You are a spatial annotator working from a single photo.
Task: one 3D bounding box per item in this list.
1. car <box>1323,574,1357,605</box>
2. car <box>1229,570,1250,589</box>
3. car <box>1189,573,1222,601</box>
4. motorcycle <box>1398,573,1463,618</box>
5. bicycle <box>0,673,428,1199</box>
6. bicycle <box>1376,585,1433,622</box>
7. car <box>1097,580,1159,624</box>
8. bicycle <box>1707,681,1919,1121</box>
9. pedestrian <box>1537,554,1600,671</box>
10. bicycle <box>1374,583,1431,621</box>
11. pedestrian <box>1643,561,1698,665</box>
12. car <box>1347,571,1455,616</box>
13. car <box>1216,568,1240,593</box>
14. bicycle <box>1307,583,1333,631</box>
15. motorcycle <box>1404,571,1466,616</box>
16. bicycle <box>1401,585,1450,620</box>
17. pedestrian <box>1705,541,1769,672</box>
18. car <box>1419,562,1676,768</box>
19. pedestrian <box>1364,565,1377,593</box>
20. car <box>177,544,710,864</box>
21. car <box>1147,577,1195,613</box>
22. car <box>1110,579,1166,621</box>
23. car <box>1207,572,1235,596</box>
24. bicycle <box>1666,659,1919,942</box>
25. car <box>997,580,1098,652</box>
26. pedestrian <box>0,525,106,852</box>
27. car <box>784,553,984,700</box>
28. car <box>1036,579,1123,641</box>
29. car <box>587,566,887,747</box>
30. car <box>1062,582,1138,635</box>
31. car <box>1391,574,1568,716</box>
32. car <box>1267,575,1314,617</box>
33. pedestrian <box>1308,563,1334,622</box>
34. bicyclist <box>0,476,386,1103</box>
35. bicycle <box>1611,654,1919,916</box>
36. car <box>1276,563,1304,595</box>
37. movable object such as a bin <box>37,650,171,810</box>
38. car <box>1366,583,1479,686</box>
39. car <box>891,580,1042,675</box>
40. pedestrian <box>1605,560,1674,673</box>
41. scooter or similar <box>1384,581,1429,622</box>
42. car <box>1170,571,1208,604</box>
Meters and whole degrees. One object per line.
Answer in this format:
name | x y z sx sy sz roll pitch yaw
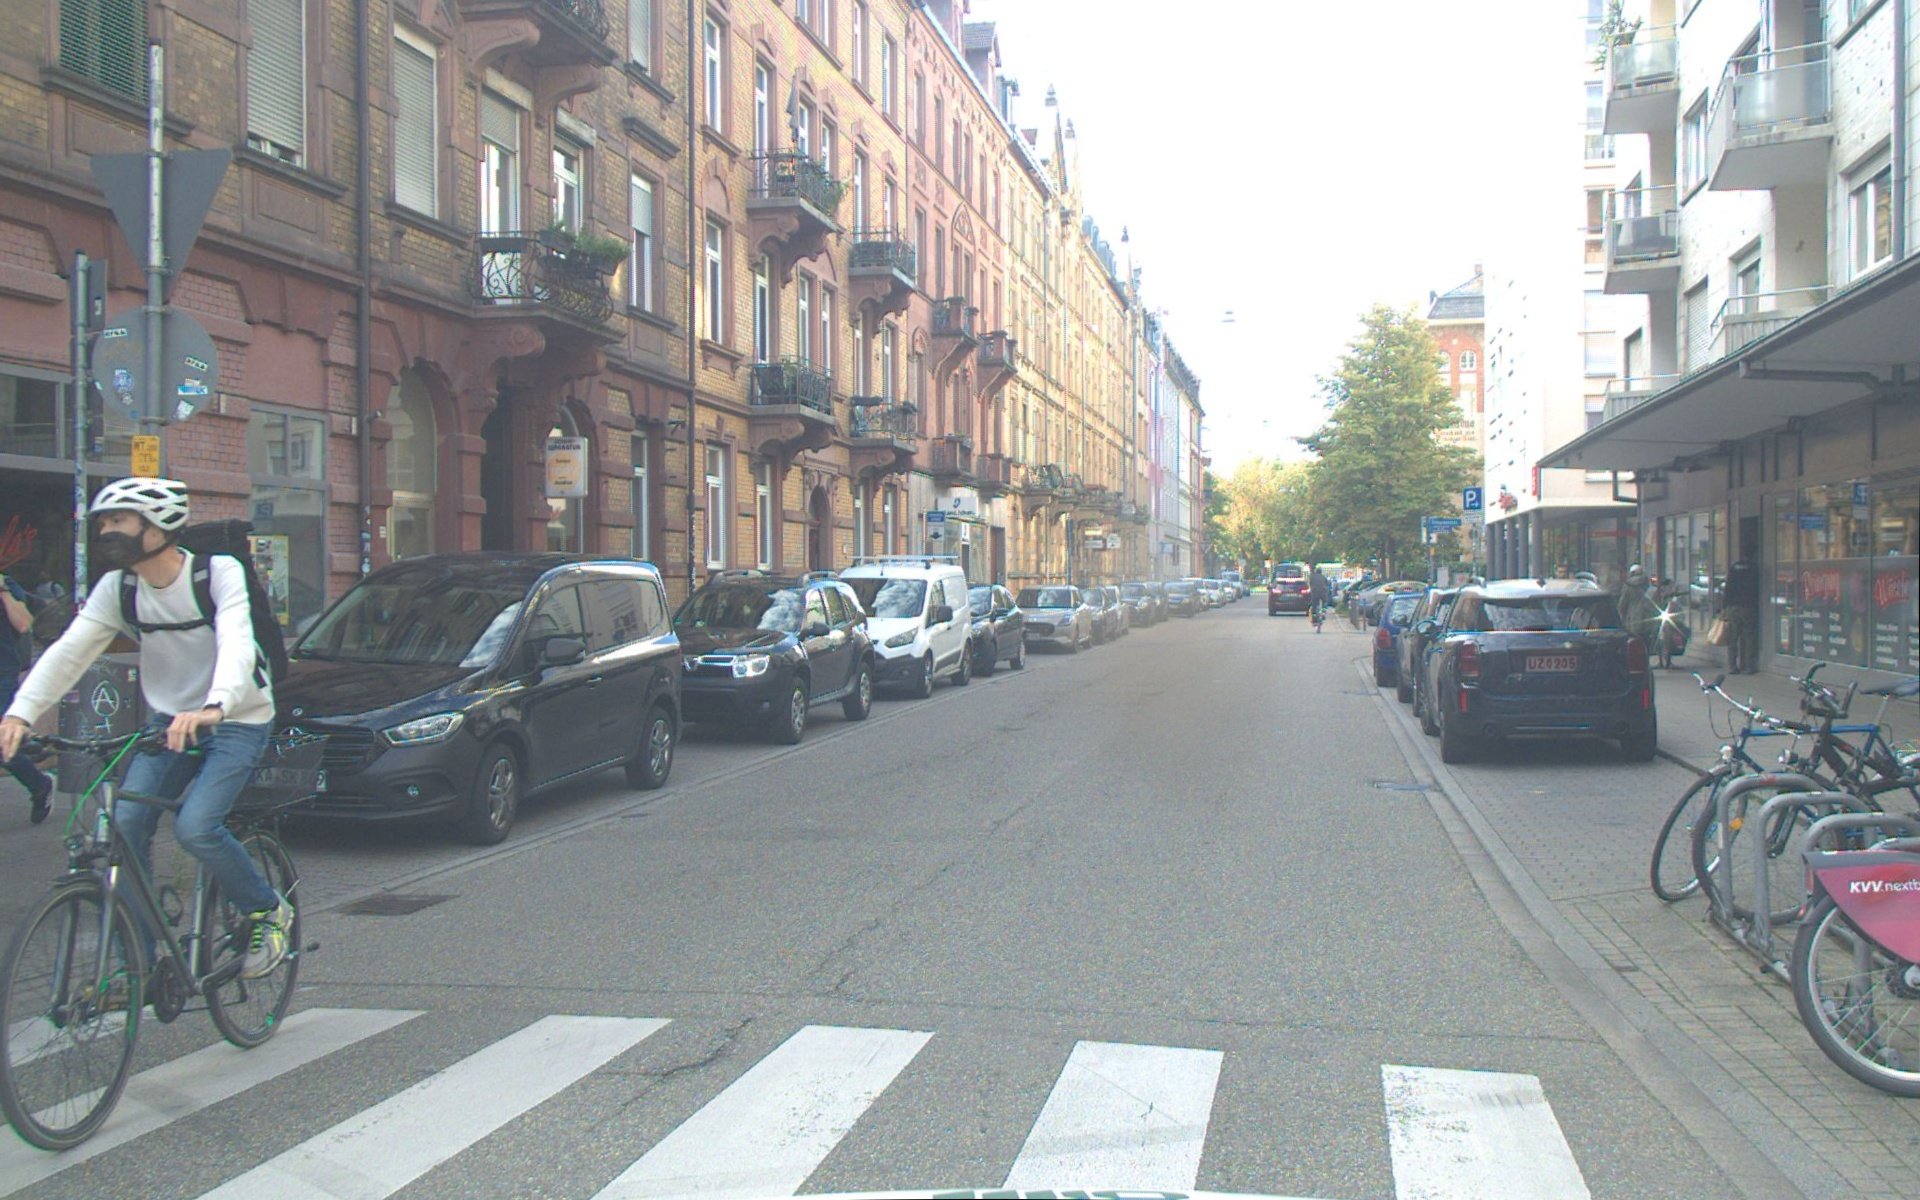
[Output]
car | 22.035 -0.624 96.008 1.889 1.666 4.004 1 1 12
car | 23.855 -1.712 141.177 1.654 1.577 3.871 1 1 11
car | 14.211 -0.761 95.527 1.654 1.577 3.871 1 1 11
motorcycle | 16.483 -0.167 57.938 2.105 1.459 0.766 -3 1 17
bicycle | -2.326 0.872 5.017 0.686 1.242 2.117 -1 -1 1
bicycle | 14.321 0.110 53.322 1.728 1.118 0.412 -3 1 15
car | 5.687 0.044 55.587 1.654 1.411 3.871 1 1 12
bicycle | 3.351 0.831 4.924 1.842 1.145 0.908 -3 0 10
pedestrian | 9.433 0.177 25.663 0.599 1.756 1.127 -3 1 7
bicycle | 14.699 0.076 54.959 1.756 1.179 0.500 -3 1 15
pedestrian | 11.322 0.204 26.389 0.630 1.616 0.781 -2 0 14
car | 16.839 -0.233 63.274 3.682 1.573 1.731 -2 -1 2
car | 20.510 -1.505 126.482 1.654 1.853 3.871 1 1 11
bicycle | 10.366 0.188 47.559 0.703 1.296 1.886 1 1 13
motorcycle | 17.459 -0.237 60.810 2.105 1.557 0.686 -3 1 17
bicycle | 16.679 0.098 59.279 1.629 1.179 0.557 -3 1 14
pedestrian | 11.436 0.084 24.344 0.697 1.892 0.641 0 1 41
car | 5.380 0.513 15.612 1.754 1.633 3.928 -3 0 13
pedestrian | 34.110 -1.766 137.430 0.974 2.269 0.899 1 1 13
car | -3.355 0.559 11.768 1.722 1.804 4.410 1 1 11
car | 9.156 -0.230 71.633 1.654 1.393 3.871 4 1 12
car | 6.660 -0.026 61.617 1.654 1.462 3.871 1 1 12
car | 17.420 -1.068 110.332 1.654 1.577 3.871 1 1 11
bicycle | 4.040 0.826 7.086 1.751 1.089 0.569 -3 1 2
car | 2.056 0.321 37.940 1.704 1.509 3.987 1 1 12
pedestrian | -5.718 0.492 9.895 0.662 1.872 0.858 2 1 13
car | -0.979 0.292 23.827 1.878 1.904 4.441 0 1 11
car | 3.153 0.221 42.928 1.704 1.509 3.987 1 1 12
car | -2.216 0.496 17.712 1.951 1.666 4.149 1 1 11
car | 4.034 0.200 47.217 1.654 1.411 3.871 1 1 12
car | 6.445 0.498 20.882 1.652 1.604 3.906 -1 0 11
car | 14.471 -0.180 72.316 1.923 1.771 4.045 0 0 12
pedestrian | 10.398 -0.222 47.645 0.703 1.678 0.931 1 1 13
bicyclist | -2.327 0.531 5.103 0.686 1.707 1.112 -1 -2 1
bicycle | 4.054 0.839 7.740 1.751 1.089 0.587 -3 1 2
car | 21.630 -1.415 108.399 1.744 2.055 3.891 1 1 11
movable object such as a bin | -4.187 0.626 8.110 0.375 0.726 0.476 1 1 8
car | 7.366 0.501 26.596 1.561 1.464 4.034 -1 1 13
car | 0.188 0.415 28.782 1.704 1.509 3.987 1 1 14
pedestrian | 9.924 0.233 24.177 0.806 1.616 0.781 -1 0 14
scooter or similar | 13.207 0.048 48.942 1.189 1.167 0.376 -2 2 44
car | 11.631 -0.656 83.773 1.654 1.577 3.871 1 1 11
